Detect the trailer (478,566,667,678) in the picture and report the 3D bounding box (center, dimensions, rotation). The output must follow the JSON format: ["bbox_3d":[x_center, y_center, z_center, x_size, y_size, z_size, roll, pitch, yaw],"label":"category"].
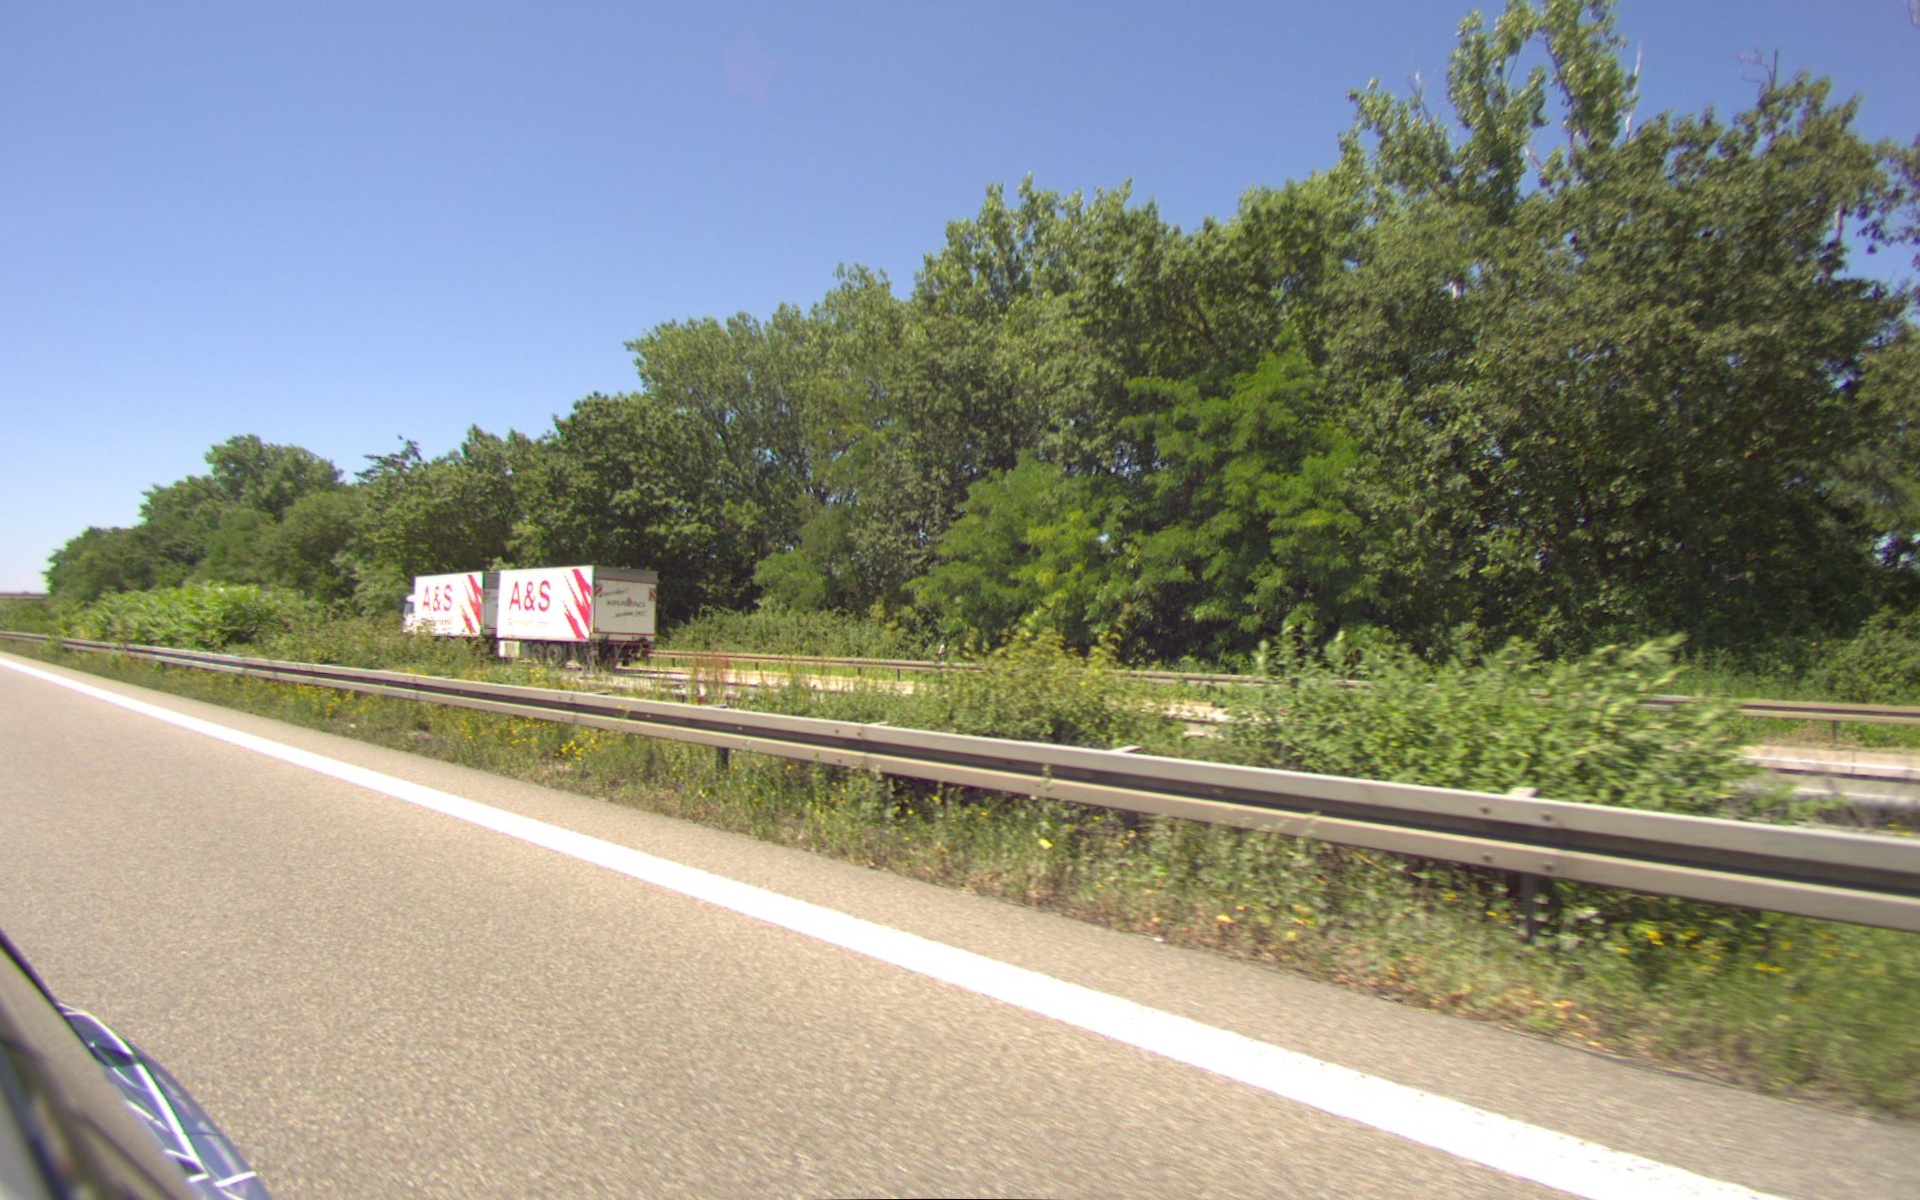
[{"bbox_3d":[-15.177,0.858,39.132,9.273,3.857,2.895,-1,-2,42],"label":"trailer"}]

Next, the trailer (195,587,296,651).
[{"bbox_3d":[-50.156,1.341,70.807,14.242,4.121,2.510,-1,-4,42],"label":"trailer"}]

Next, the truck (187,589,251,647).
[{"bbox_3d":[-55.214,1.352,75.363,5.860,4.122,2.458,-1,-4,42],"label":"truck"}]

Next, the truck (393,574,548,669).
[{"bbox_3d":[-22.093,0.963,45.367,9.273,3.857,2.895,-1,-2,42],"label":"truck"}]
